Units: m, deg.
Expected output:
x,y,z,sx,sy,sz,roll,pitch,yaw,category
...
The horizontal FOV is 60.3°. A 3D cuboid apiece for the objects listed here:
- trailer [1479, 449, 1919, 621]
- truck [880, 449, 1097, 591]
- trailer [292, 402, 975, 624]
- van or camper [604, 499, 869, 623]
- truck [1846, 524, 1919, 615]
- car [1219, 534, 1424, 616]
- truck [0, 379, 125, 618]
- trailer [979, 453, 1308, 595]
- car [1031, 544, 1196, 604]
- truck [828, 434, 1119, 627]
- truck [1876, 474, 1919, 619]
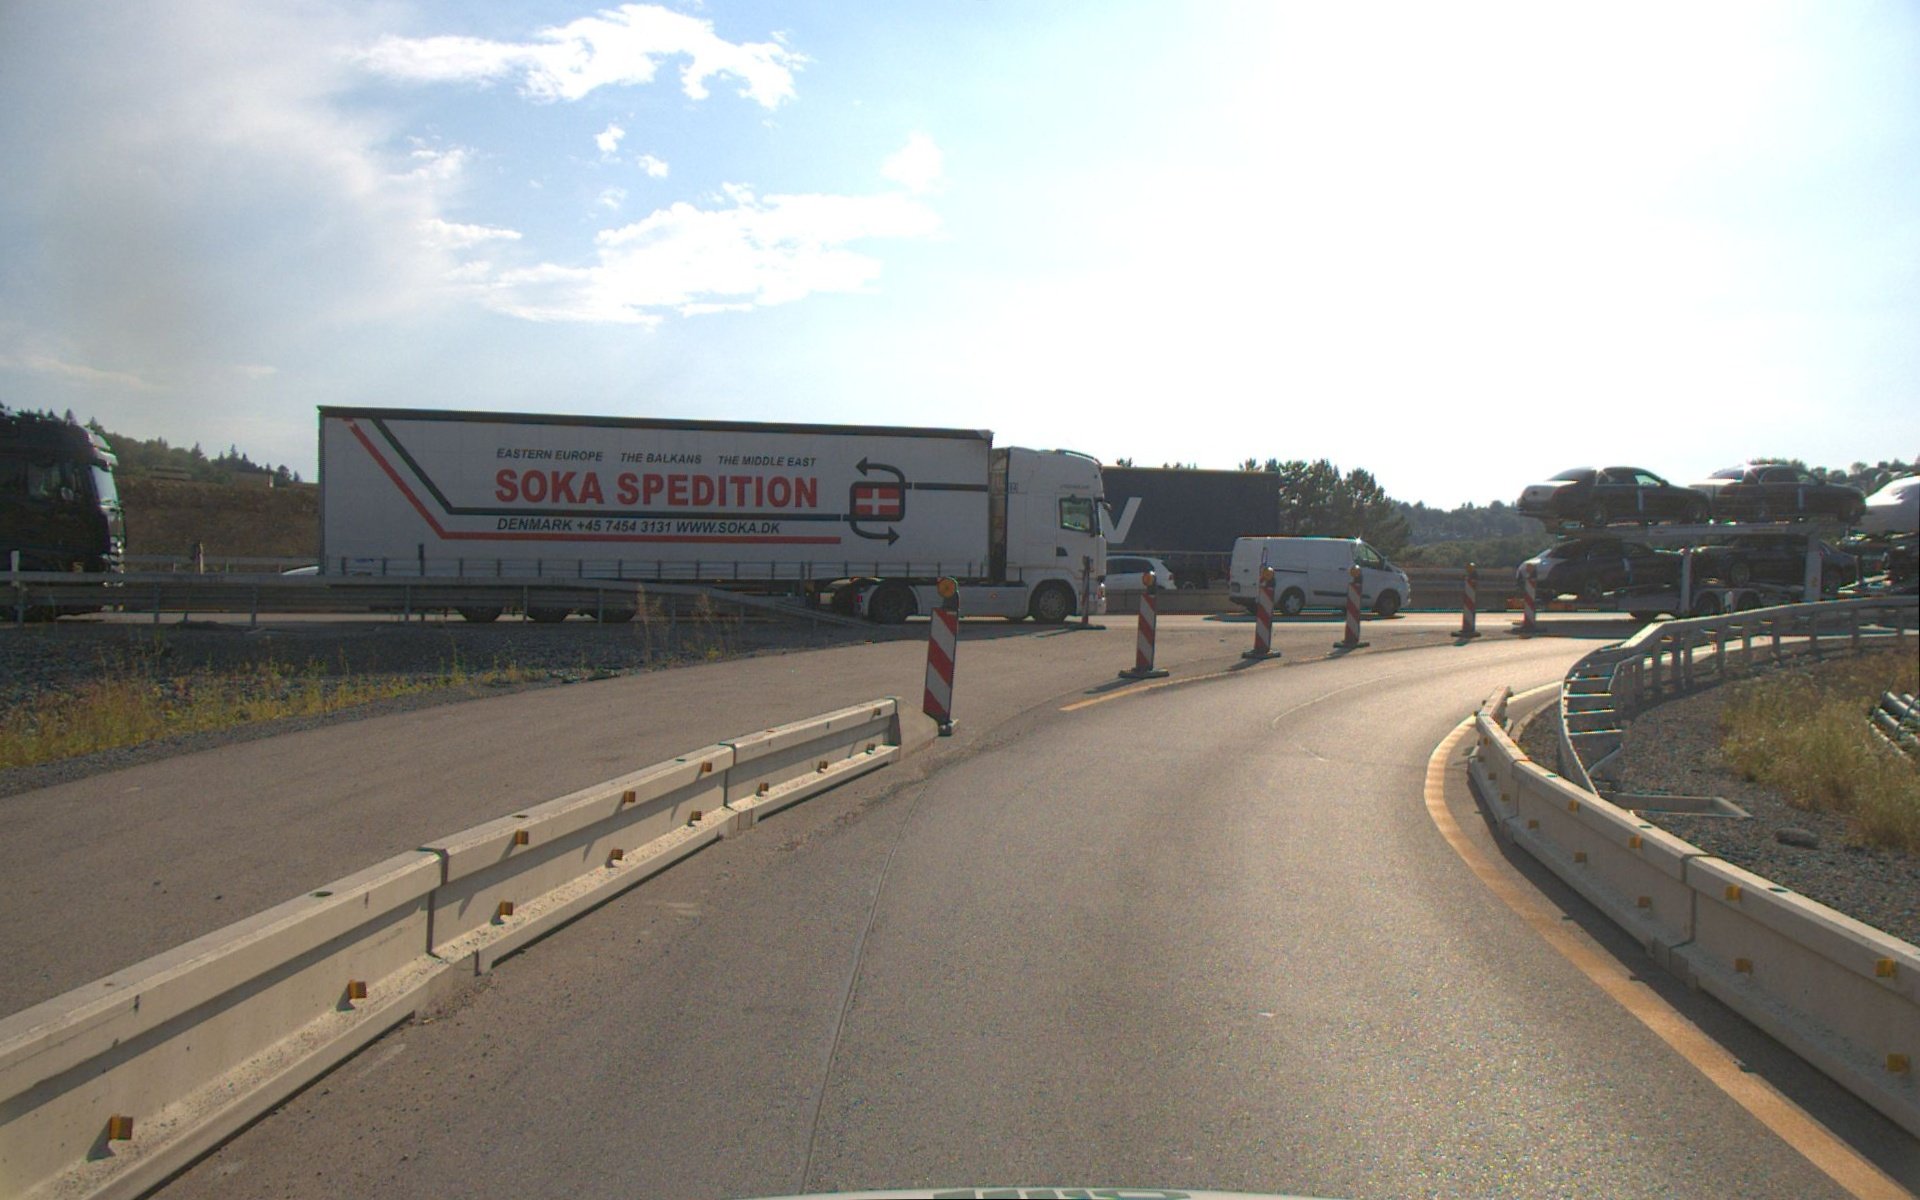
x,y,z,sx,sy,sz,roll,pitch,yaw,category
21.168,-1.542,44.041,15.461,4.066,2.850,1,1,-20,trailer
0.794,-2.200,47.590,5.584,3.792,2.989,1,-1,-19,truck
-6.395,-1.591,33.921,13.386,3.946,2.474,1,1,-20,trailer
-5.175,-0.872,38.335,5.795,2.665,1.989,1,1,-19,van or camper
35.043,-1.038,59.664,5.577,3.189,2.138,1,-1,-16,truck
9.468,-0.663,43.373,4.887,2.015,2.025,0,3,-19,car
-18.387,-1.814,29.470,5.903,4.131,2.474,1,1,-20,truck
5.465,-2.138,49.234,9.393,3.817,3.000,1,-1,-19,trailer
4.183,-0.718,45.057,4.160,1.526,1.653,0,3,-19,car
0.278,-1.457,36.436,5.903,3.946,2.474,1,1,-20,truck
29.831,-1.450,47.228,6.505,4.066,2.842,1,1,-20,truck
